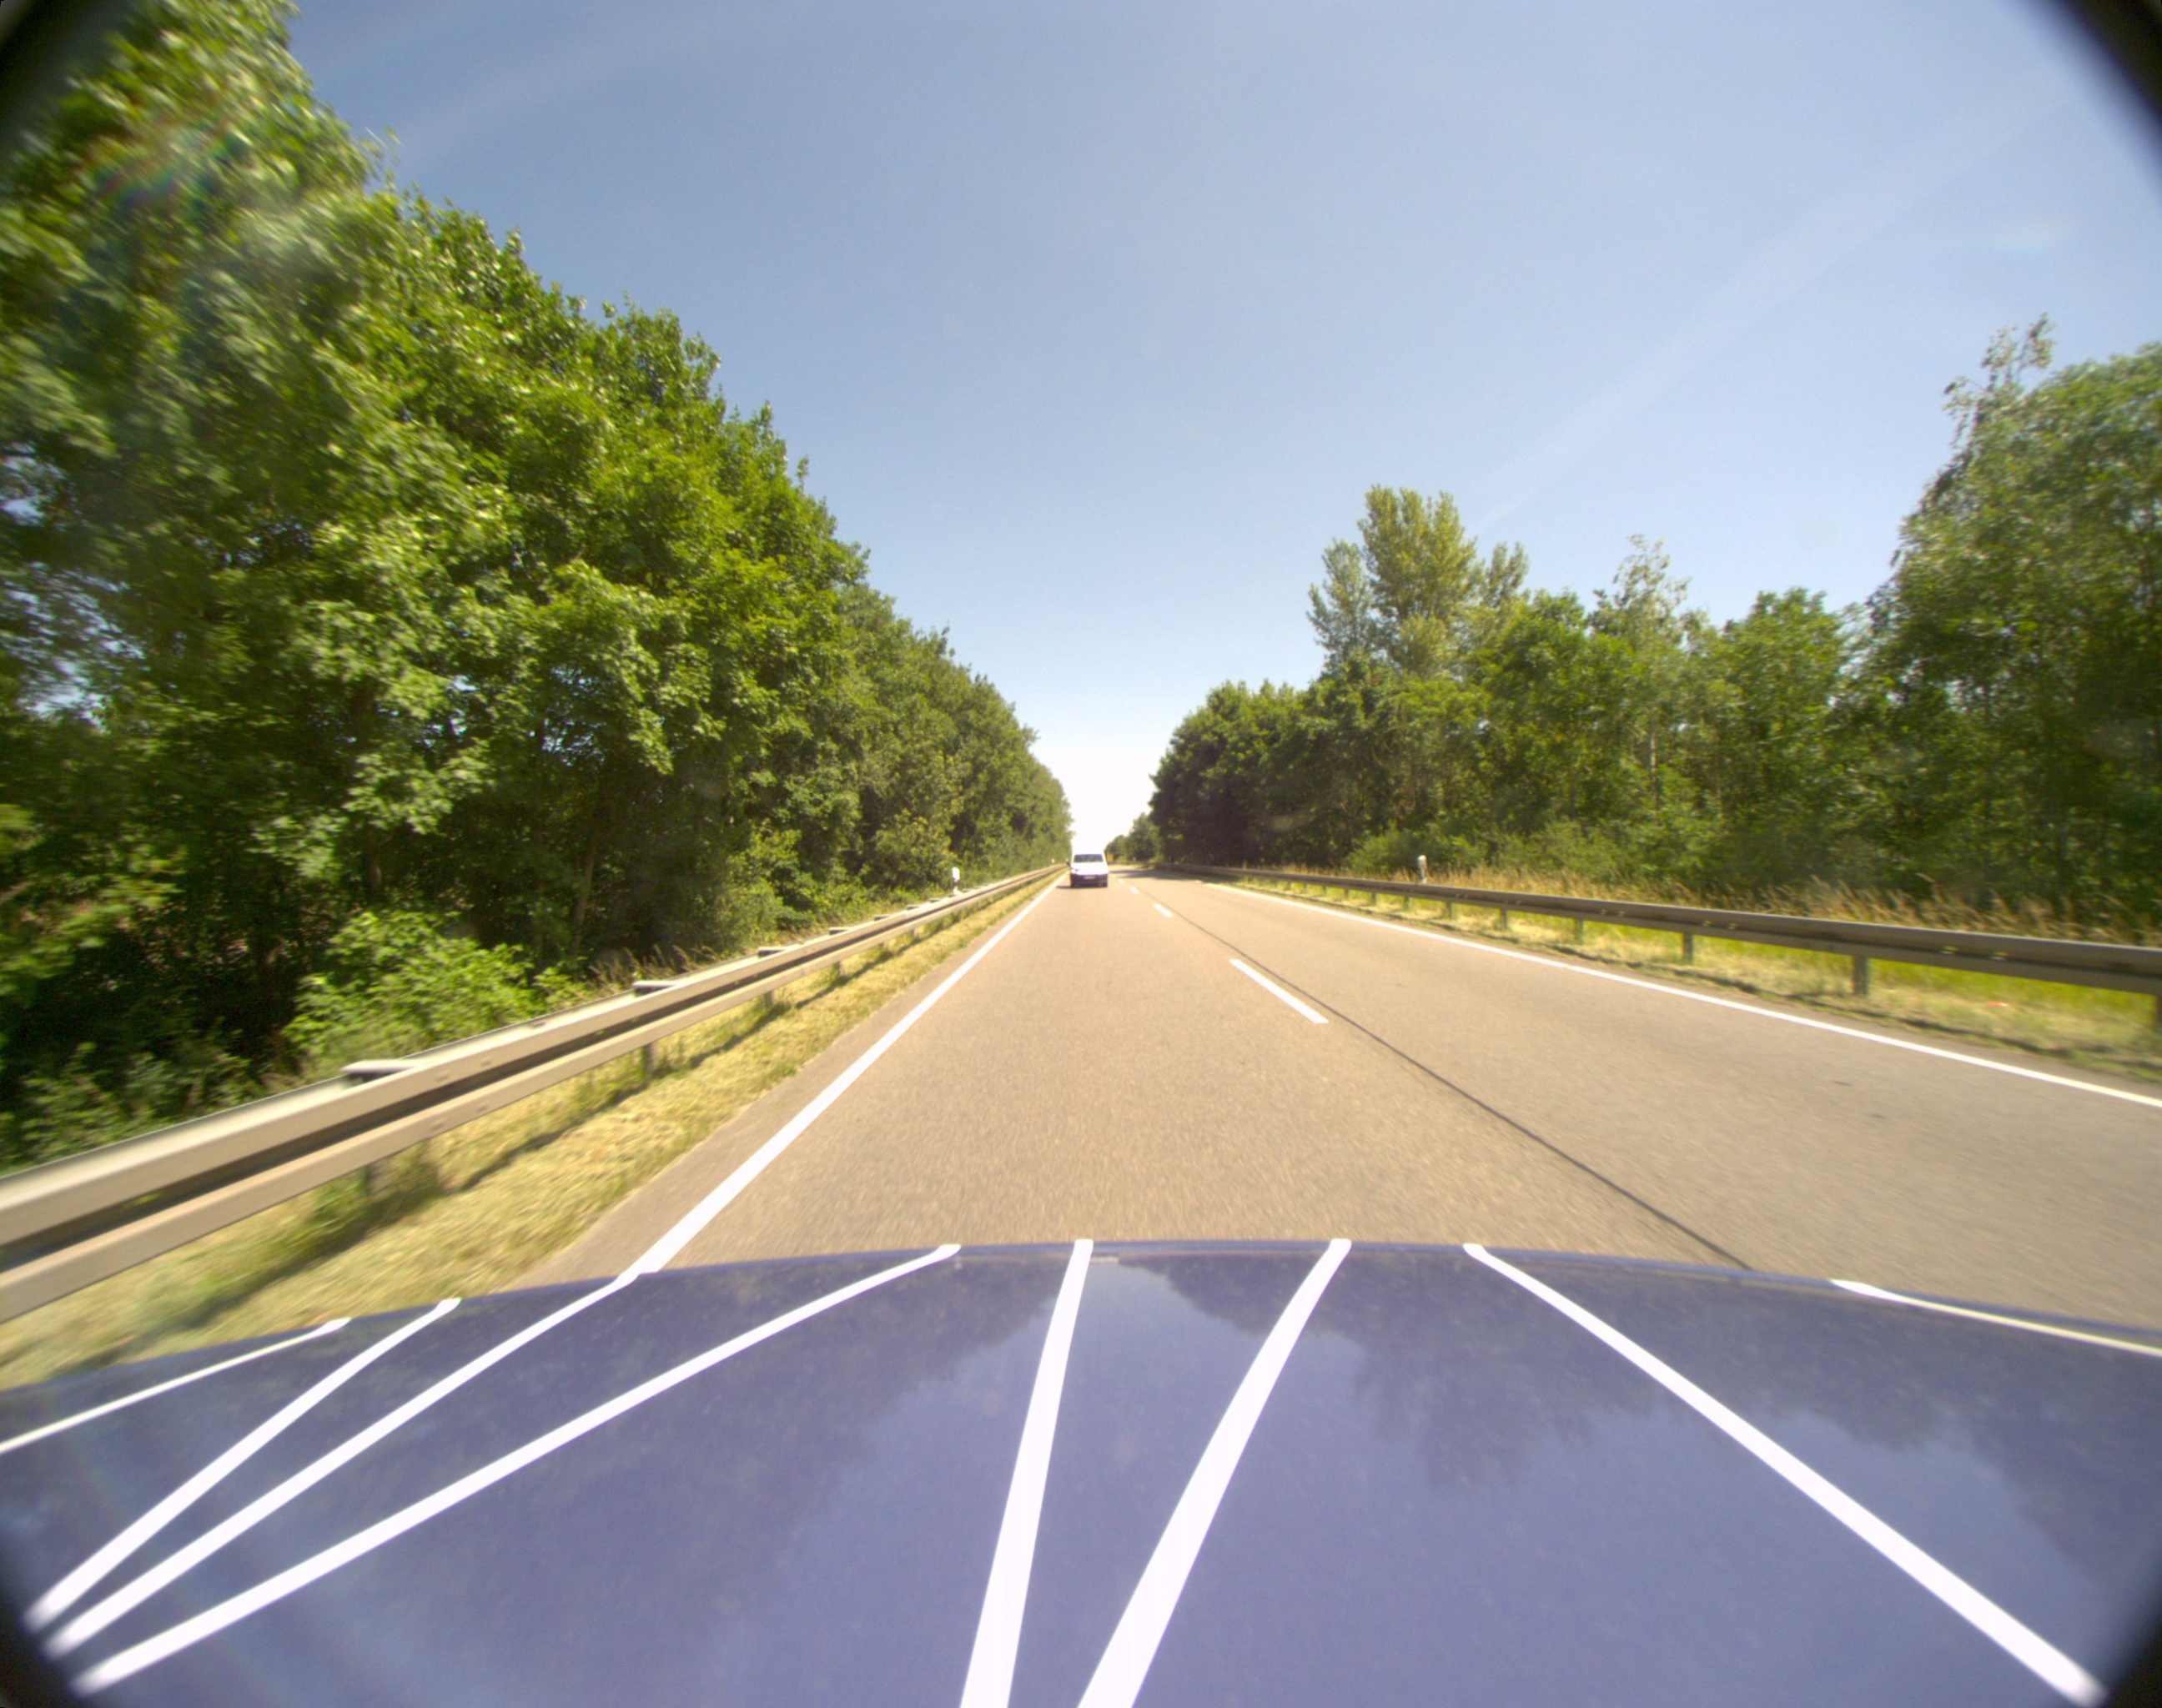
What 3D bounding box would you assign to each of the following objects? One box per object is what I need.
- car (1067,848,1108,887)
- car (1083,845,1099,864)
[{"bbox_3d":[0.332,0.663,37.201,1.782,1.743,4.513,-2,-1,1],"label":"car"},{"bbox_3d":[1.251,0.082,92.196,1.782,2.287,4.106,-2,-1,1],"label":"car"}]
